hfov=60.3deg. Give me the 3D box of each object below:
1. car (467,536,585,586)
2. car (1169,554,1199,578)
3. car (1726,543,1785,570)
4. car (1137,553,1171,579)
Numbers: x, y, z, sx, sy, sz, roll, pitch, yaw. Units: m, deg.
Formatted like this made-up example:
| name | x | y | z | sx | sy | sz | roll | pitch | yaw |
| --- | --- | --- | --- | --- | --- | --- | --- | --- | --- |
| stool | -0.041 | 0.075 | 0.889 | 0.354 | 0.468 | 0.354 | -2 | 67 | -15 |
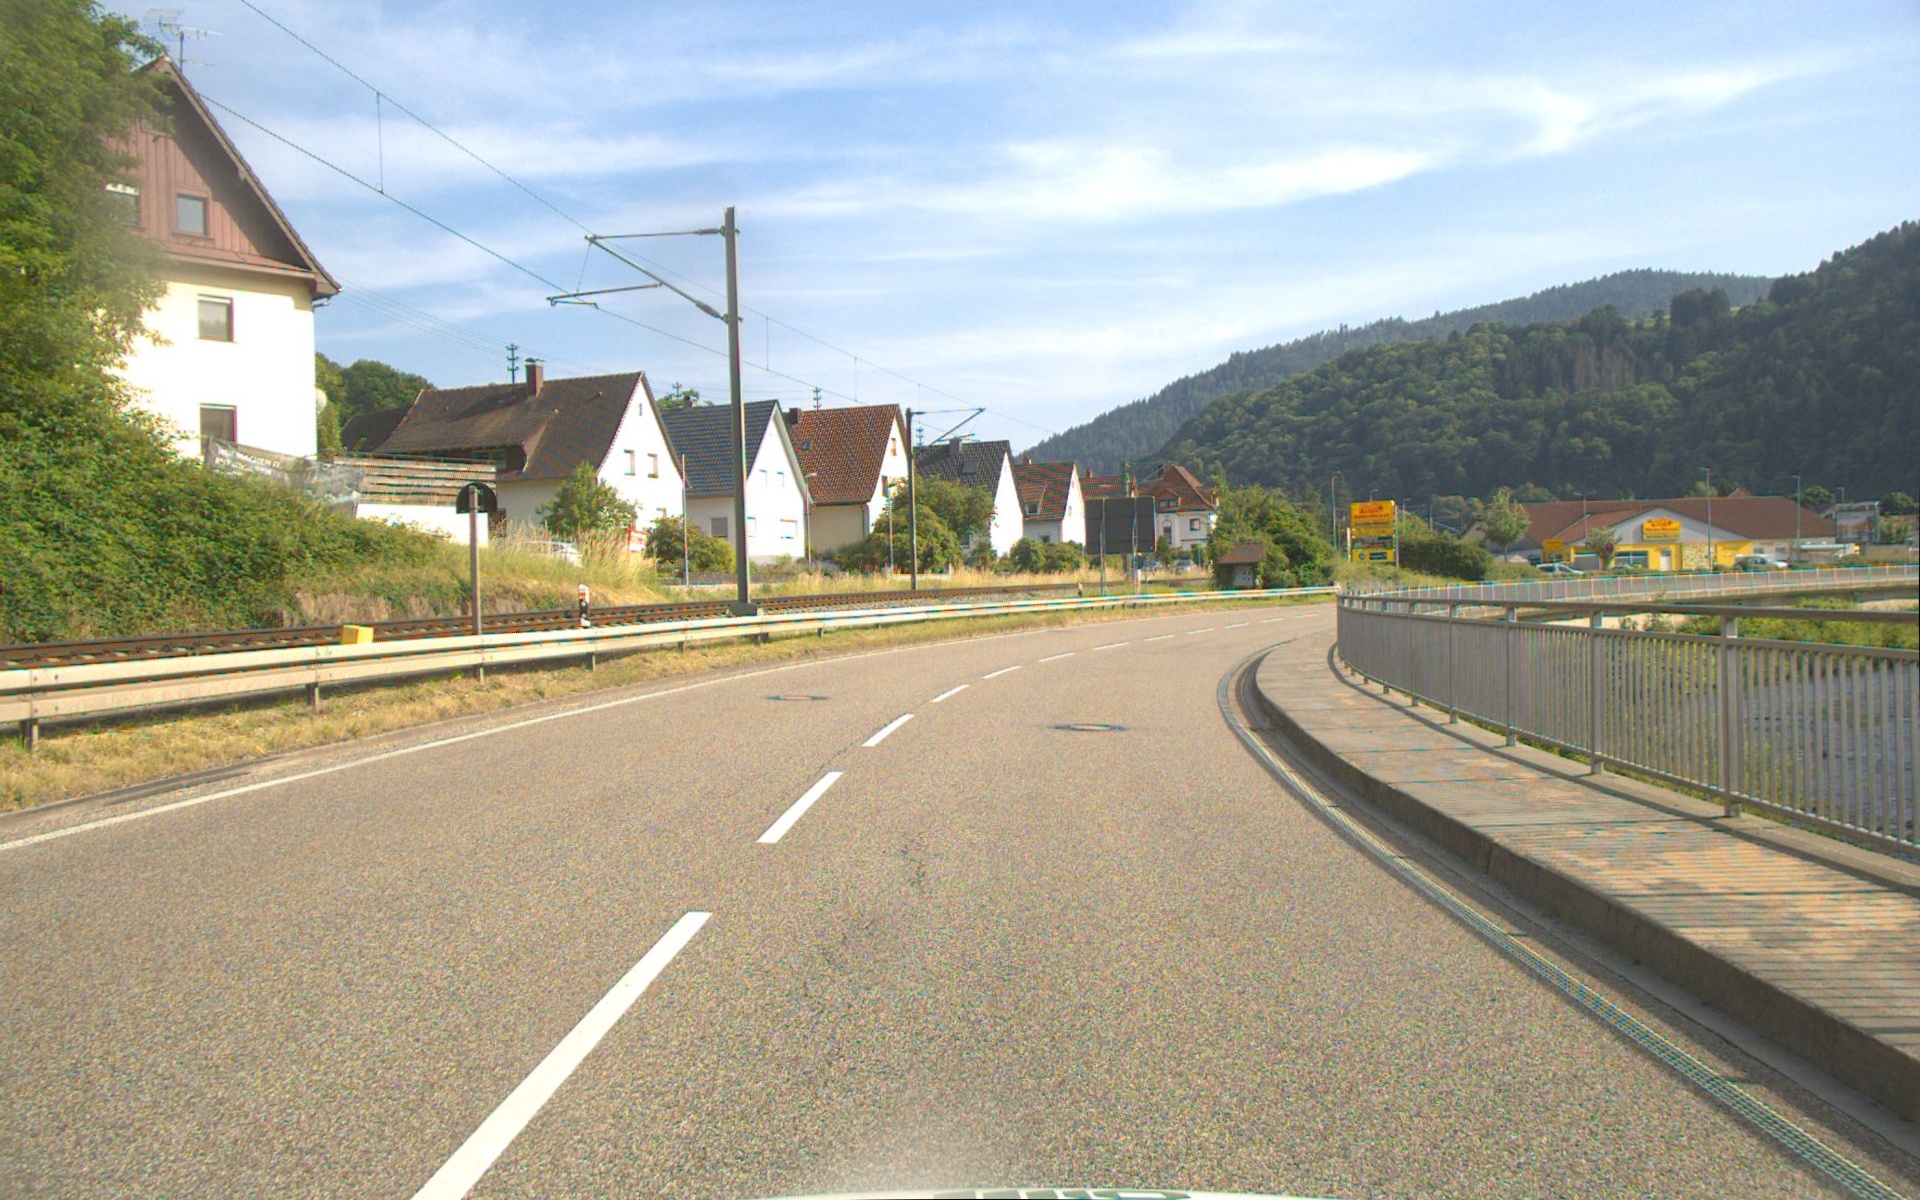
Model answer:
| name | x | y | z | sx | sy | sz | roll | pitch | yaw |
| --- | --- | --- | --- | --- | --- | --- | --- | --- | --- |
| car | -15.591 | -1.416 | 59.411 | 3.954 | 1.703 | 1.640 | -1 | 4 | -20 |
| car | 20.412 | -3.110 | 150.611 | 1.953 | 1.913 | 4.002 | 6 | 2 | 17 |
| car | 66.502 | -3.620 | 138.326 | 1.978 | 2.049 | 3.948 | 4 | -2 | -36 |
| car | 16.143 | -2.847 | 137.580 | 1.953 | 1.913 | 4.002 | 6 | 2 | 17 |
